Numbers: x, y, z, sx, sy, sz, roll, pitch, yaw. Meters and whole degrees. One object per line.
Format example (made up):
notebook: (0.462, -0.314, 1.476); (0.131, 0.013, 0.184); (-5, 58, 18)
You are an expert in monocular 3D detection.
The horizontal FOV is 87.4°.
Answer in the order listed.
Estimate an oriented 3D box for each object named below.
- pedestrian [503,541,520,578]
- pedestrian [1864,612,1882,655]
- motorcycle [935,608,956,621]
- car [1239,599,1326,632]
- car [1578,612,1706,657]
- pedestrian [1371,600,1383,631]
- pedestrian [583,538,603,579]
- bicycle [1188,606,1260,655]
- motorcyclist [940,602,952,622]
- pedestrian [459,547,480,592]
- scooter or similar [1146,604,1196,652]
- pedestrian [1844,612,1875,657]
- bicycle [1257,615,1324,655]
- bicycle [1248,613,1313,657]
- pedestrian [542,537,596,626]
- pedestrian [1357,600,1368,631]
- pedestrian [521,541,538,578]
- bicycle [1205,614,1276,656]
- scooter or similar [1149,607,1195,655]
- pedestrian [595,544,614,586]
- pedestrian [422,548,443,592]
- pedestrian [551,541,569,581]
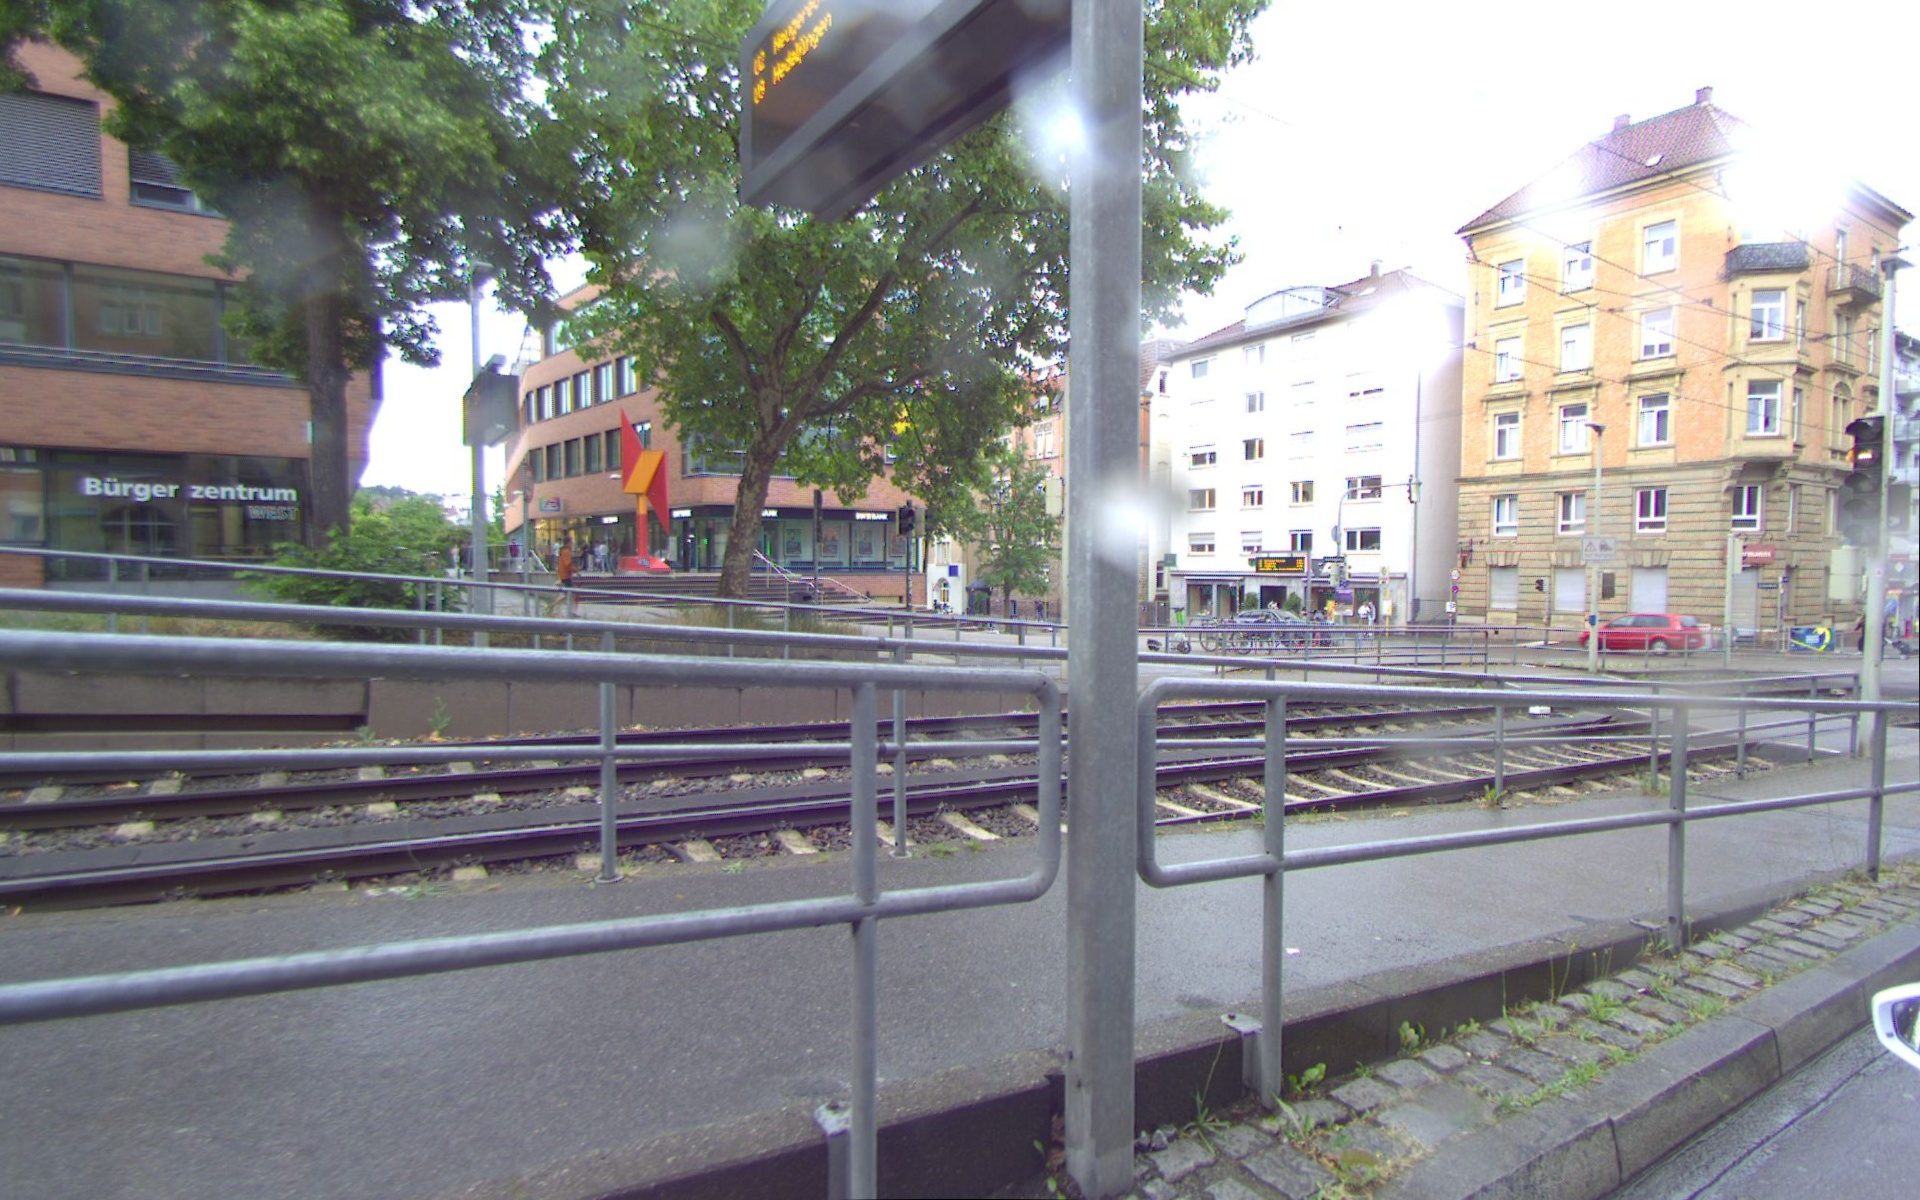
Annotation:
pedestrian: (-25.183, -2.273, 56.376); (0.711, 2.040, 0.713); (1, 0, -38)
pedestrian: (36.476, 1.341, 40.137); (0.512, 1.688, 0.474); (1, 0, 42)
motorcycle: (-1.054, 1.020, 71.937); (0.590, 0.895, 1.849); (1, 0, -35)
car: (14.930, 0.684, 46.697); (1.668, 1.422, 3.577); (1, 0, -35)
car: (25.209, 1.244, 37.254); (1.663, 1.509, 3.588); (1, 0, -26)
pedestrian: (22.435, 0.841, 54.089); (0.507, 1.643, 0.486); (2, 1, 18)
pedestrian: (-18.677, -2.085, 51.137); (0.707, 2.040, 0.716); (1, 0, 45)
bicycle: (7.085, 0.809, 27.020); (0.514, 1.211, 1.852); (1, 1, -43)
motorcyclist: (-0.994, 0.838, 71.856); (0.582, 1.404, 0.617); (1, 0, -35)
pedestrian: (-22.431, -1.375, 45.937); (0.711, 2.040, 0.713); (1, 0, -38)
scooter or similar: (5.572, 0.727, 26.526); (1.226, 1.211, 0.299); (2, 1, 6)
pedestrian: (34.760, 1.326, 38.804); (0.667, 1.683, 0.676); (1, 0, -26)
bicycle: (9.761, 1.018, 29.744); (0.514, 1.079, 1.852); (1, 1, -43)
bicycle: (9.277, 0.996, 29.144); (0.514, 1.158, 1.750); (1, 1, -43)
pedestrian: (-9.209, -0.418, 23.675); (0.973, 2.041, 0.726); (1, 1, -41)
pedestrian: (21.824, 0.832, 54.456); (0.507, 1.643, 0.486); (2, 1, 18)
pedestrian: (-24.209, -2.274, 56.475); (0.710, 2.041, 0.713); (1, 1, -37)
bicycle: (7.754, 0.957, 27.808); (0.514, 1.076, 1.852); (1, 1, -44)
scooter or similar: (5.464, 0.793, 25.928); (1.090, 1.211, 0.362); (2, 1, 6)
pedestrian: (-17.757, -1.747, 50.171); (0.711, 2.040, 0.713); (1, 0, -38)
pedestrian: (-24.716, -1.409, 47.050); (0.711, 2.040, 0.713); (1, 0, -38)
pedestrian: (-20.805, -2.044, 52.264); (0.711, 2.040, 0.713); (1, 0, -38)
